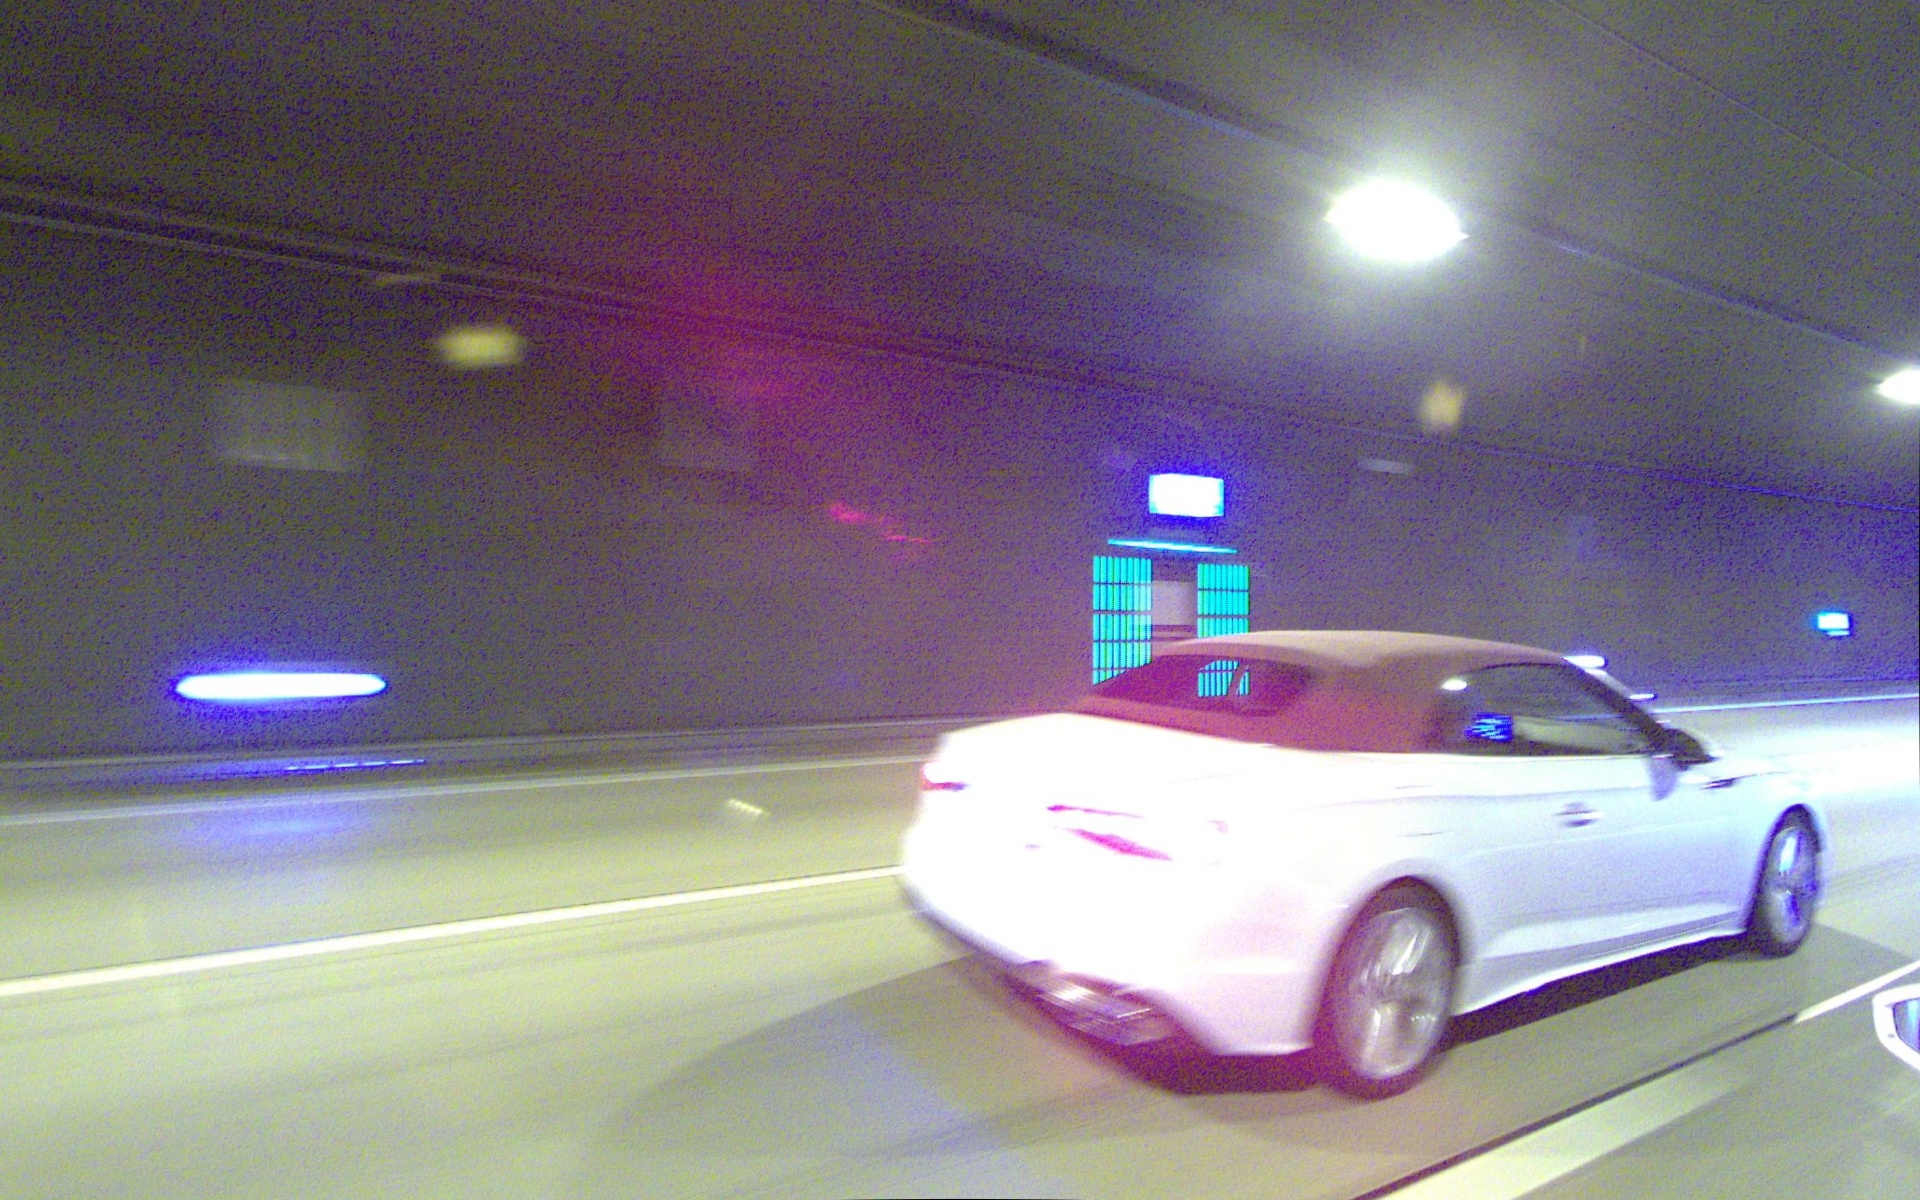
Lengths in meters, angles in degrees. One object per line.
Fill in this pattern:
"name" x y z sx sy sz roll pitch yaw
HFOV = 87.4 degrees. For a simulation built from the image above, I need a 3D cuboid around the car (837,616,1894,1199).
"car" 2.098 0.836 4.421 5.003 1.438 1.693 2 -1 -32
